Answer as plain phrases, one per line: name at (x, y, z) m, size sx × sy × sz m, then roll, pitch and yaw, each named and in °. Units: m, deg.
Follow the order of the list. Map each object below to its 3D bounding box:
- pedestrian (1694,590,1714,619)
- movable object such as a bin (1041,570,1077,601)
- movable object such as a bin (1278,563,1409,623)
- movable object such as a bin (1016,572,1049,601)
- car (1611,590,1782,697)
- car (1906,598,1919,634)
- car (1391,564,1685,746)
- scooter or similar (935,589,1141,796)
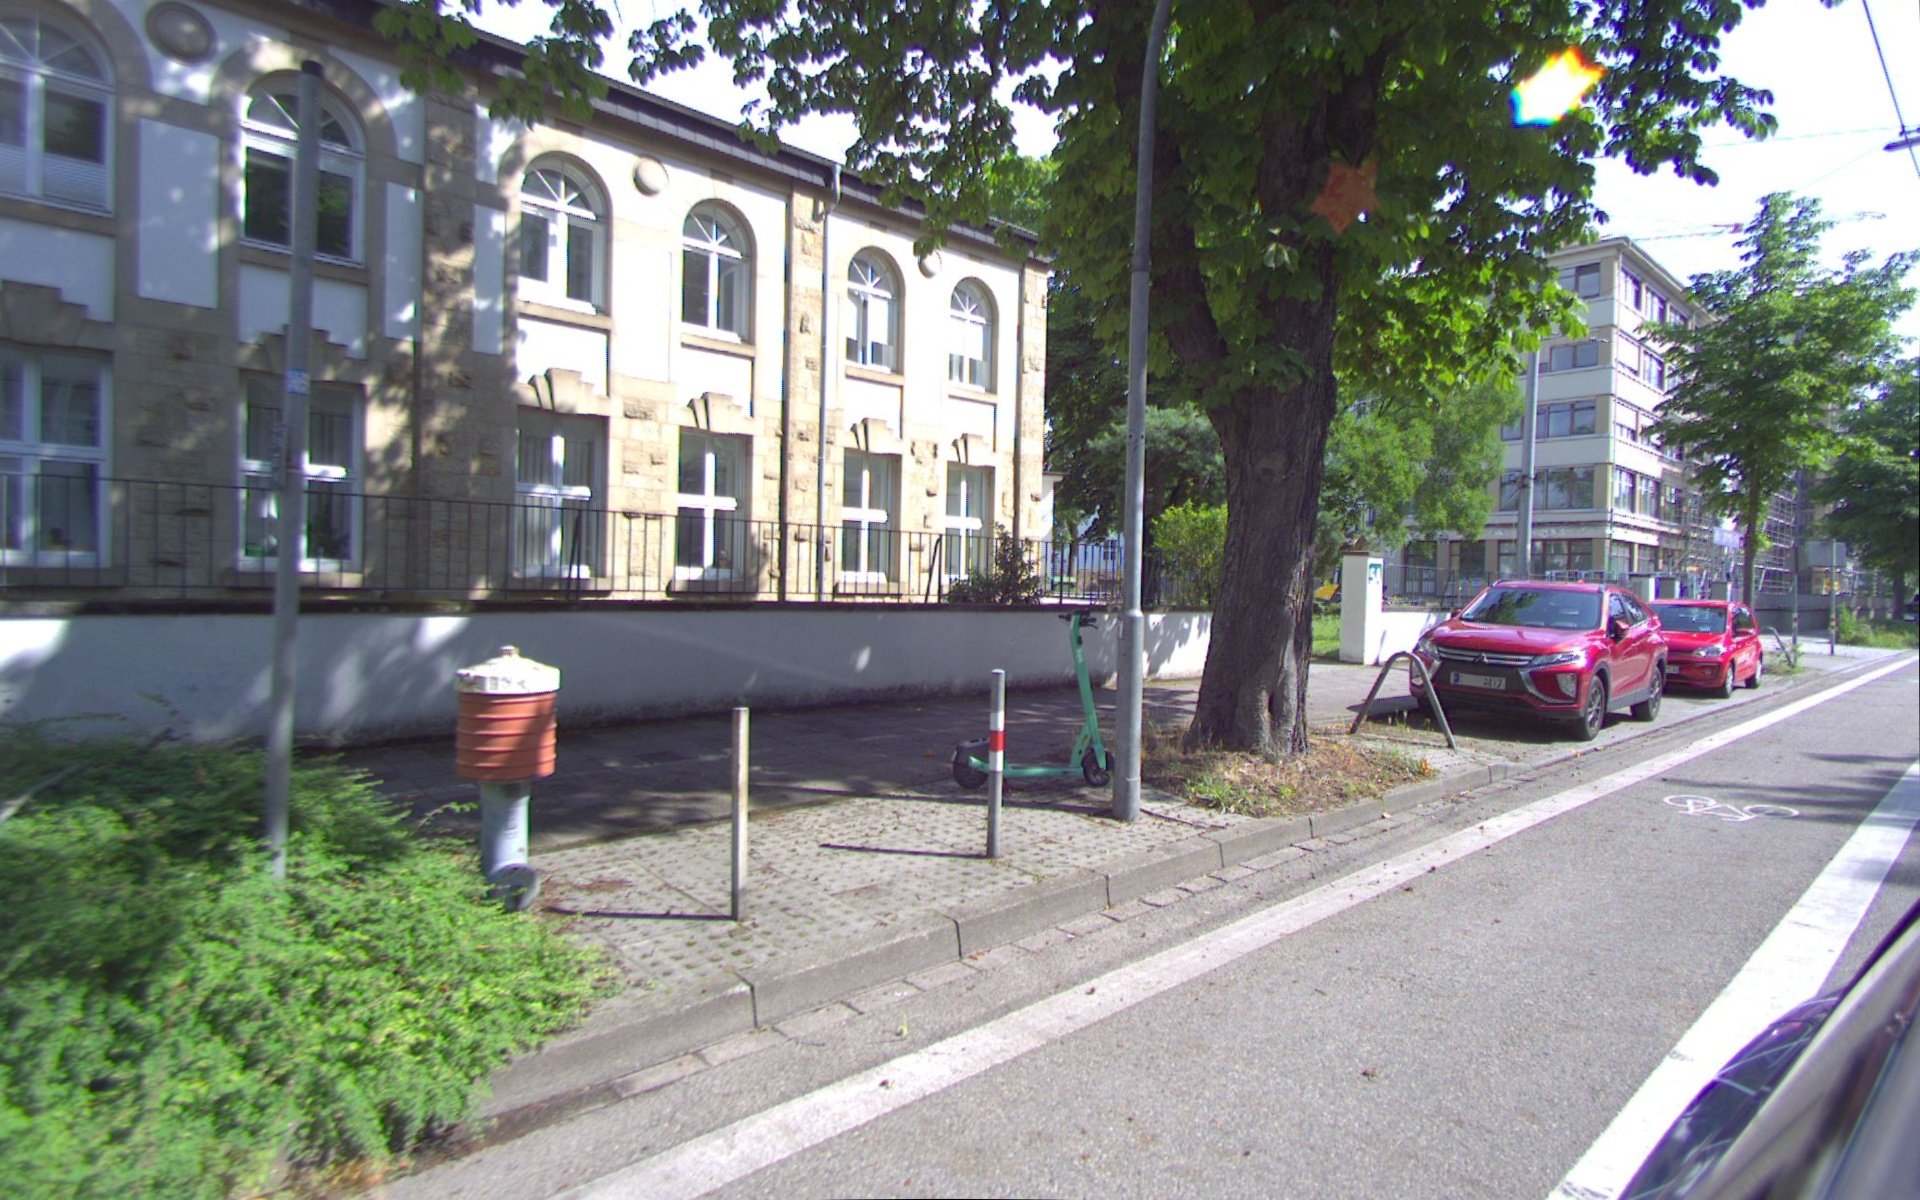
pedestrian at (34.419, 0.210, 46.817) m, size 0.454 × 1.329 × 0.635 m, roll -3°, pitch 1°, yaw -34°
movable object such as a bin at (4.658, -0.684, 47.805) m, size 1.338 × 1.369 × 1.097 m, roll 2°, pitch 1°, yaw -18°
movable object such as a bin at (18.013, -0.344, 47.820) m, size 5.345 × 2.474 × 1.995 m, roll 4°, pitch 0°, yaw 9°
movable object such as a bin at (3.390, -0.634, 47.354) m, size 1.229 × 1.281 × 1.002 m, roll 2°, pitch 1°, yaw -18°
car at (12.228, 0.627, 16.724) m, size 3.536 × 1.445 × 1.603 m, roll -1°, pitch 5°, yaw -44°
car at (44.947, 0.701, 46.590) m, size 4.165 × 1.627 × 1.747 m, roll 0°, pitch -1°, yaw -43°
car at (6.904, 0.504, 11.891) m, size 4.212 × 1.697 × 1.878 m, roll 0°, pitch 3°, yaw -45°
scooter or similar at (0.503, 0.587, 6.568) m, size 1.233 × 1.252 × 0.343 m, roll 2°, pitch 3°, yaw -18°
